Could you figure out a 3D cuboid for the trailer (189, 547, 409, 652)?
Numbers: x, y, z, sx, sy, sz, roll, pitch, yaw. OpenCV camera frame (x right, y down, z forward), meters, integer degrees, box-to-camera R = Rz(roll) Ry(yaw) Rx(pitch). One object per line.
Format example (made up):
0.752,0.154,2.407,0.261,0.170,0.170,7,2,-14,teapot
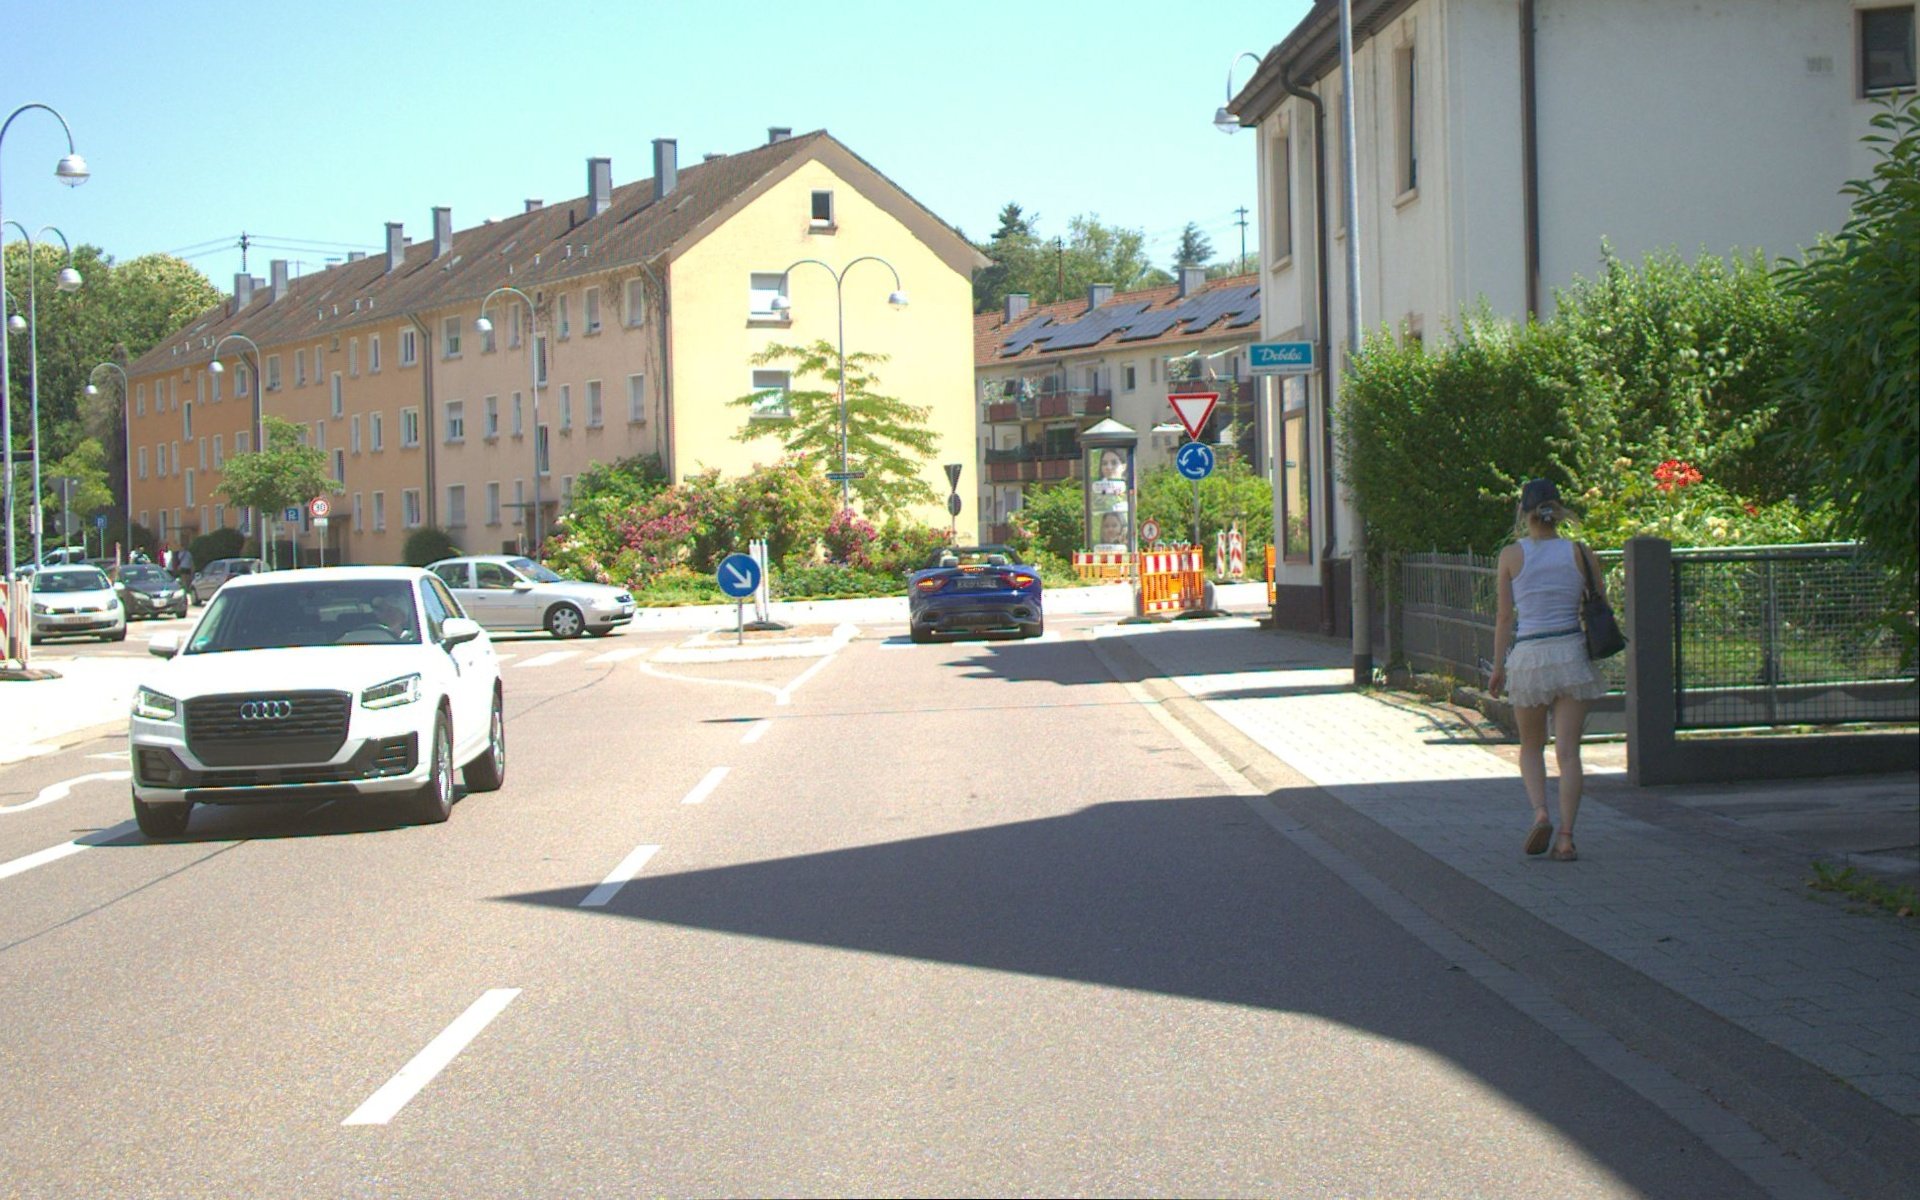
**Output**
-11.117,-0.018,57.897,3.189,1.711,1.755,0,0,14,trailer

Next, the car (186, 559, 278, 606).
-23.367,-0.549,110.271,1.812,1.495,4.000,0,0,-29,car

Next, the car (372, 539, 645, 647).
-7.479,-0.125,57.068,4.117,1.741,1.786,0,0,14,car

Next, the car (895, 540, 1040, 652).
0.063,-0.027,49.908,1.870,1.525,4.507,-1,-1,-3,car

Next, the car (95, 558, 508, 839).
-3.915,0.573,21.056,1.820,1.525,3.950,-1,-1,-1,car

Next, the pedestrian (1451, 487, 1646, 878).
2.552,0.347,14.957,0.623,1.638,0.772,-2,0,-4,pedestrian

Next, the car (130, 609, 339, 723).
-13.745,1.226,65.389,1.839,1.524,4.391,-6,4,17,car
